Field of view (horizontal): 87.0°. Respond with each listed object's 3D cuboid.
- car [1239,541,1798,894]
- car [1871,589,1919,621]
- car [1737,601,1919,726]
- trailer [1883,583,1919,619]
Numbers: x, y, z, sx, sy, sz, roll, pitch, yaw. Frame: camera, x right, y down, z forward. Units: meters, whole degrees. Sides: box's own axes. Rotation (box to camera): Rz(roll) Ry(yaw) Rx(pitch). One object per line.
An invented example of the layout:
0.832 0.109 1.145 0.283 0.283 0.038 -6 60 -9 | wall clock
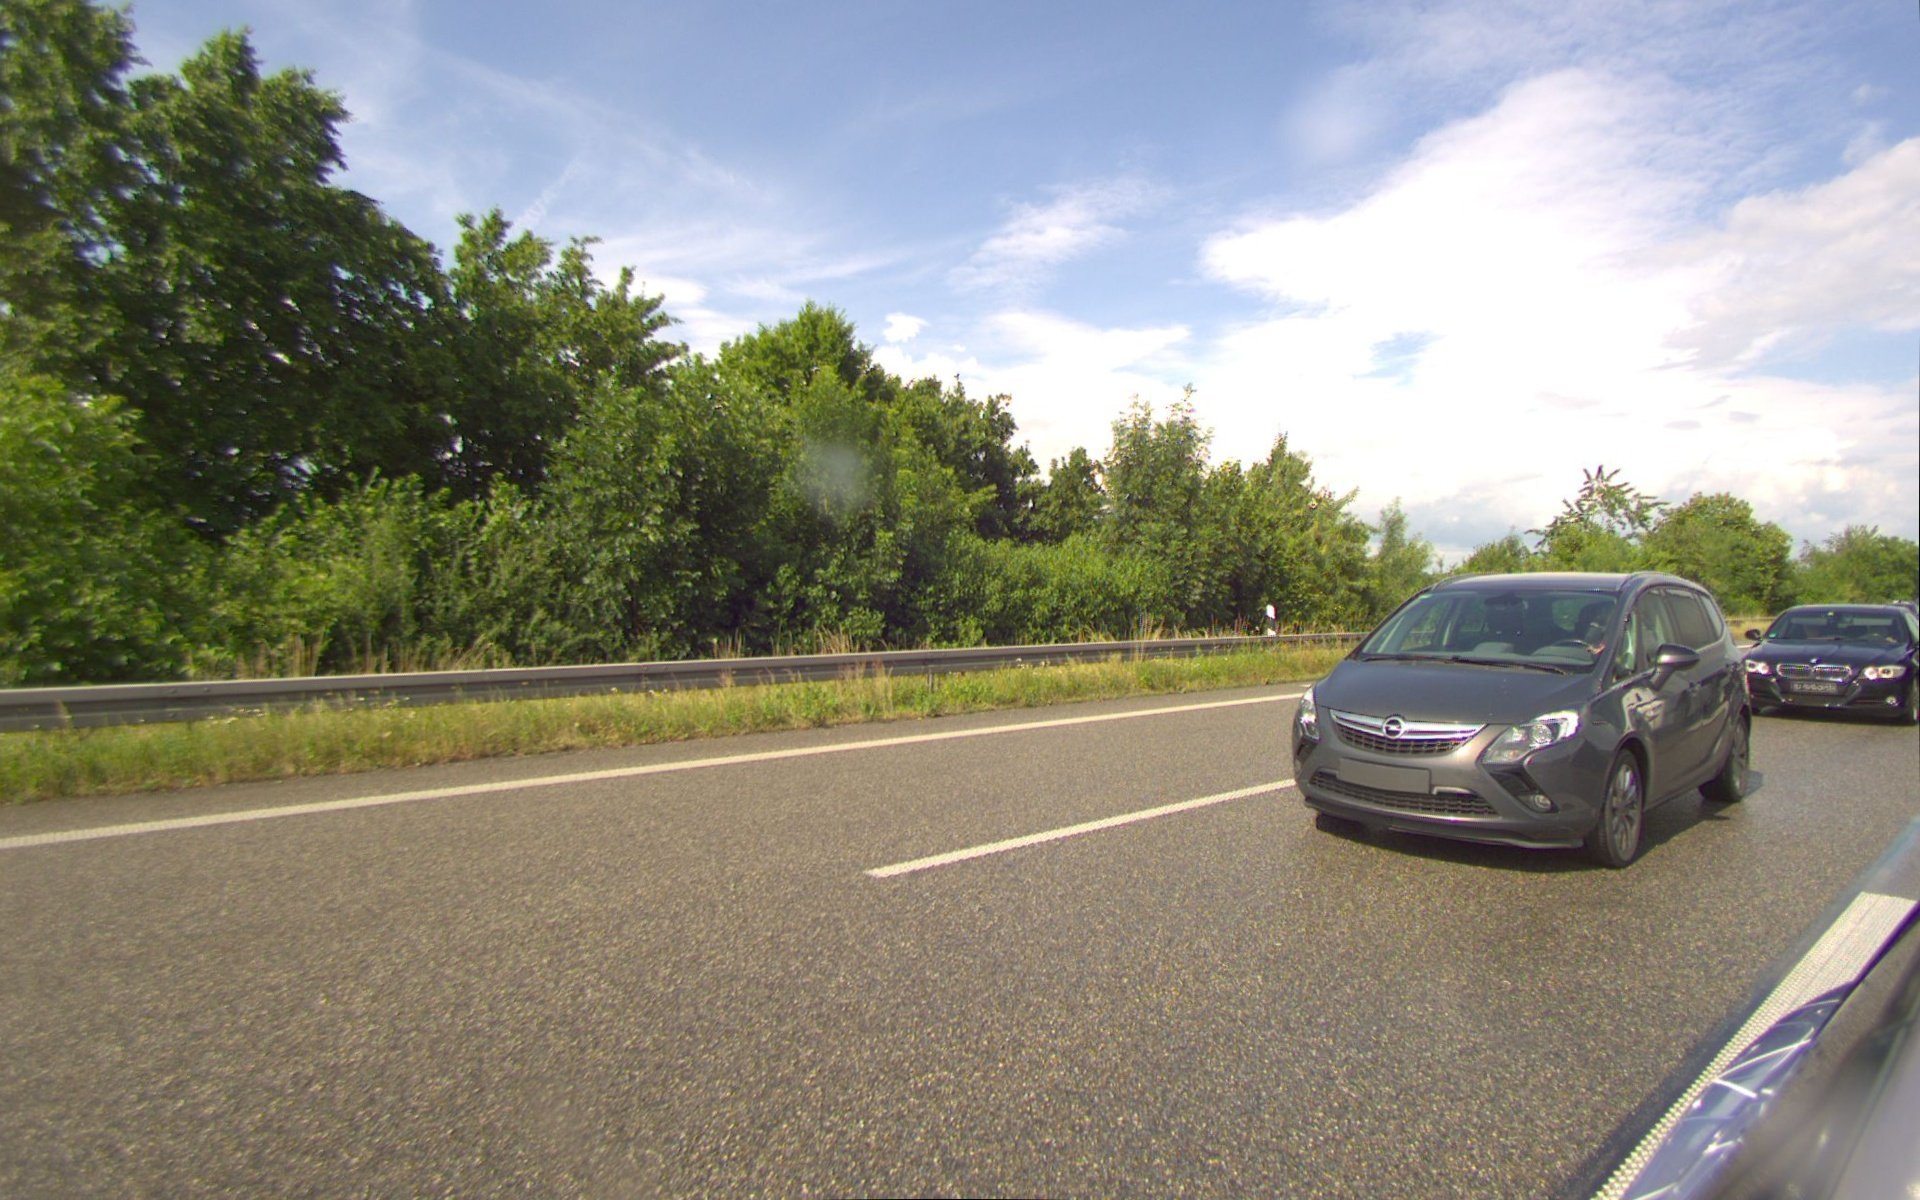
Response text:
4.068 0.534 6.971 4.652 1.652 1.857 0 0 -40 | car
44.449 0.209 47.705 4.328 1.449 1.746 0 1 -41 | car
11.704 0.719 13.225 3.816 1.371 1.721 0 0 -41 | car
47.524 0.043 50.470 3.899 1.768 1.808 0 0 -41 | trailer
